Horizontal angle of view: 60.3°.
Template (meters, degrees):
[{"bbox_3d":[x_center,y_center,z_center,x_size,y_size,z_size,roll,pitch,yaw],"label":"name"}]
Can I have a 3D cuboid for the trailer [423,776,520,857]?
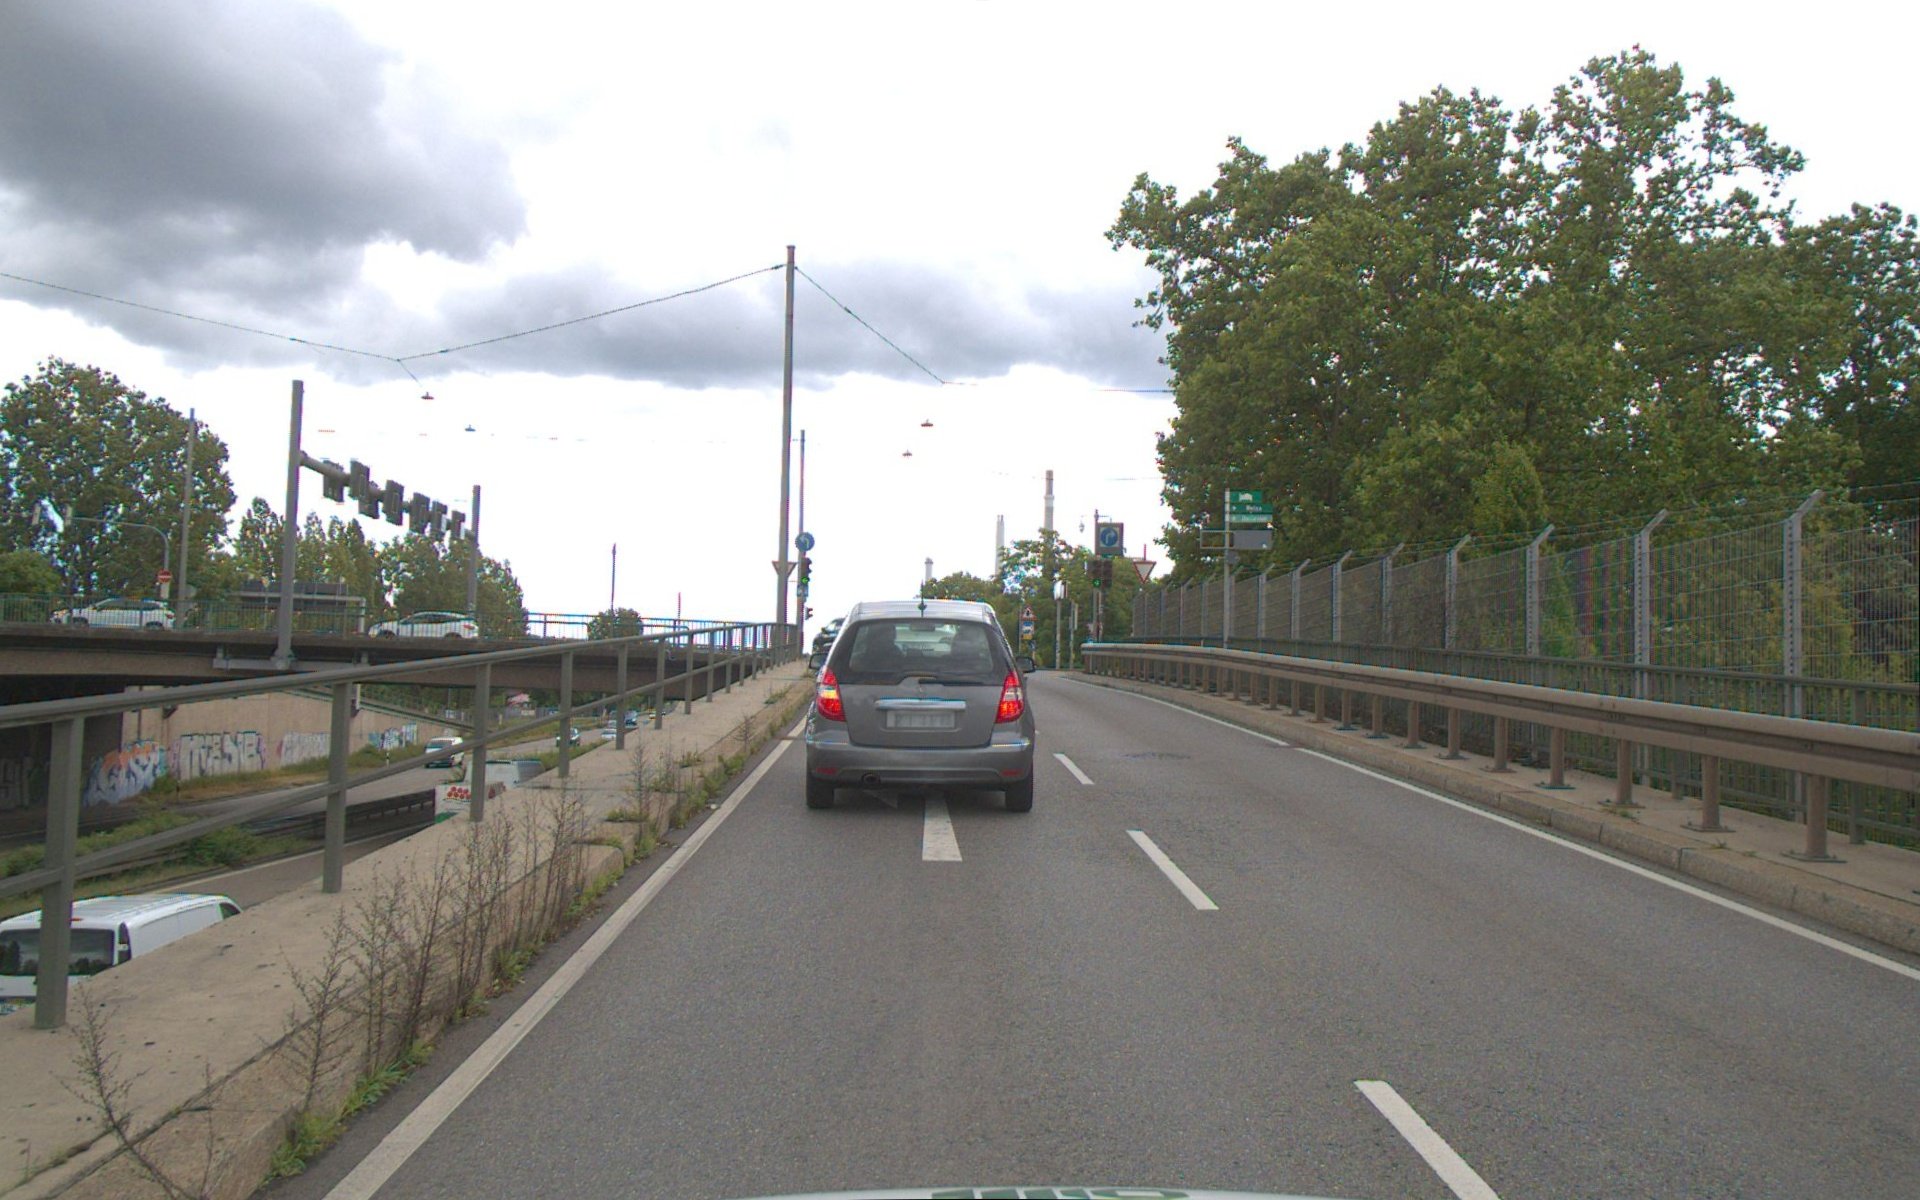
[{"bbox_3d":[-14.542,6.432,49.479,1.693,2.167,3.934,1,-5,-1],"label":"trailer"}]

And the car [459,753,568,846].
[{"bbox_3d":[-14.598,6.484,54.449,1.953,2.732,5.930,1,-5,-1],"label":"car"}]

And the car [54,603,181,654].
[{"bbox_3d":[-32.410,1.106,63.651,4.161,1.903,1.977,2,-1,-33],"label":"car"}]

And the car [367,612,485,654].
[{"bbox_3d":[-21.634,1.338,67.144,4.248,1.604,1.836,1,-1,-6],"label":"car"}]

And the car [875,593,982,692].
[{"bbox_3d":[-0.686,0.795,31.951,1.893,1.747,4.402,1,-1,-3],"label":"car"}]

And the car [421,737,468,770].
[{"bbox_3d":[-35.938,10.679,115.394,1.954,2.103,5.171,1,-4,-4],"label":"car"}]

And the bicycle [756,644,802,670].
[{"bbox_3d":[-8.291,2.624,75.872,1.998,1.144,0.926,1,-1,-14],"label":"bicycle"}]

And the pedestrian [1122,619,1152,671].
[{"bbox_3d":[5.967,1.539,55.796,0.816,1.707,0.978,1,-4,-6],"label":"pedestrian"}]

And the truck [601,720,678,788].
[{"bbox_3d":[-17.137,8.205,88.882,2.690,3.351,7.438,1,-4,-1],"label":"truck"}]

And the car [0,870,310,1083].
[{"bbox_3d":[-10.357,4.665,21.236,1.953,1.910,5.196,1,-4,-1],"label":"car"}]

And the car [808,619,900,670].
[{"bbox_3d":[-3.839,1.589,59.369,1.908,1.747,3.965,1,-1,-27],"label":"car"}]

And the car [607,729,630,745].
[{"bbox_3d":[-34.781,13.915,168.609,1.694,1.555,4.083,1,-4,-3],"label":"car"}]

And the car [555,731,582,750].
[{"bbox_3d":[-37.946,13.617,160.406,1.877,1.769,4.548,0,-4,-4],"label":"car"}]

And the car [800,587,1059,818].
[{"bbox_3d":[-0.237,0.749,13.822,1.820,1.616,3.999,1,-1,-1],"label":"car"}]
